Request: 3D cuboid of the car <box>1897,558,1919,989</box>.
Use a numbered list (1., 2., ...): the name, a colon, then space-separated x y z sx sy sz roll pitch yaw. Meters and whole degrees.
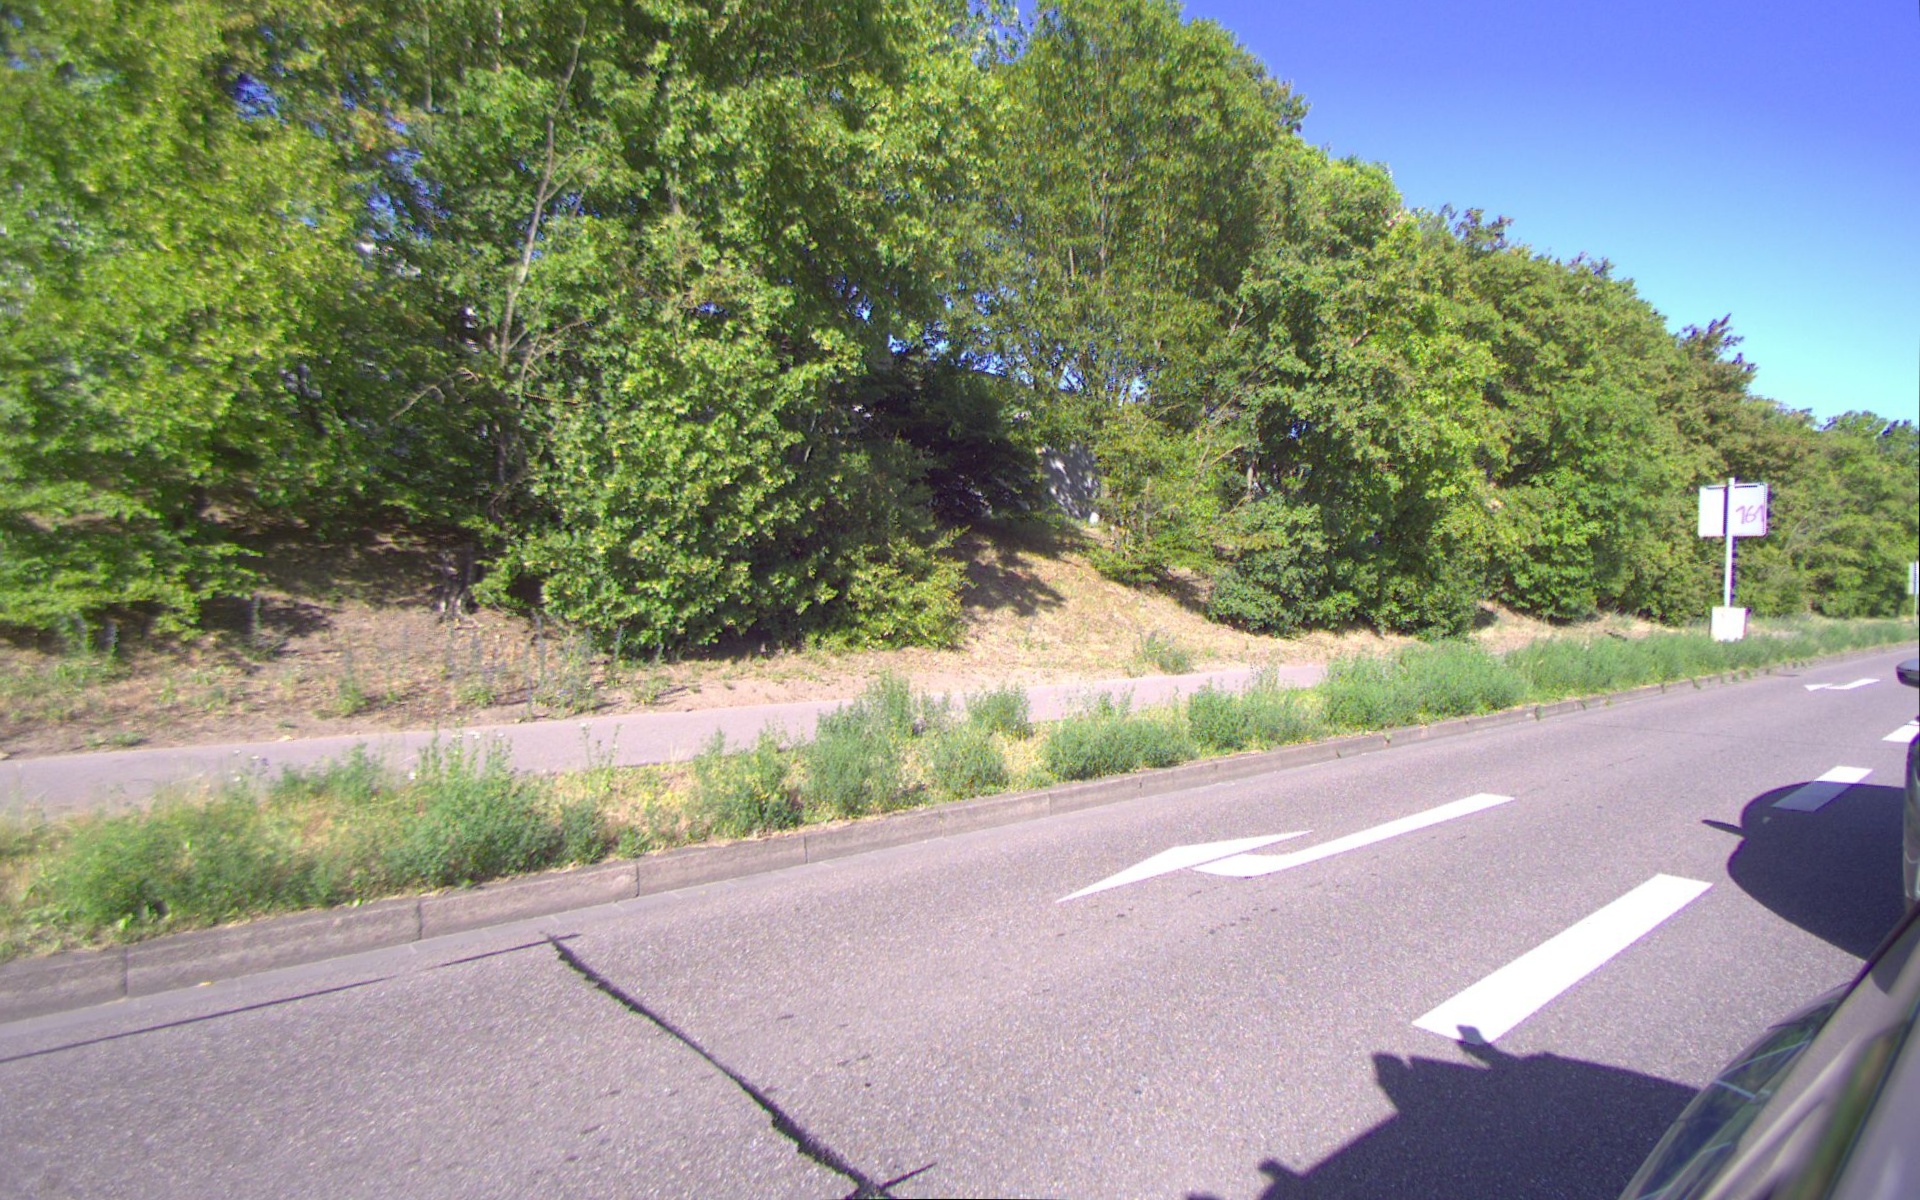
1. car: 5.750 0.646 4.558 4.327 1.603 1.860 0 0 -42
